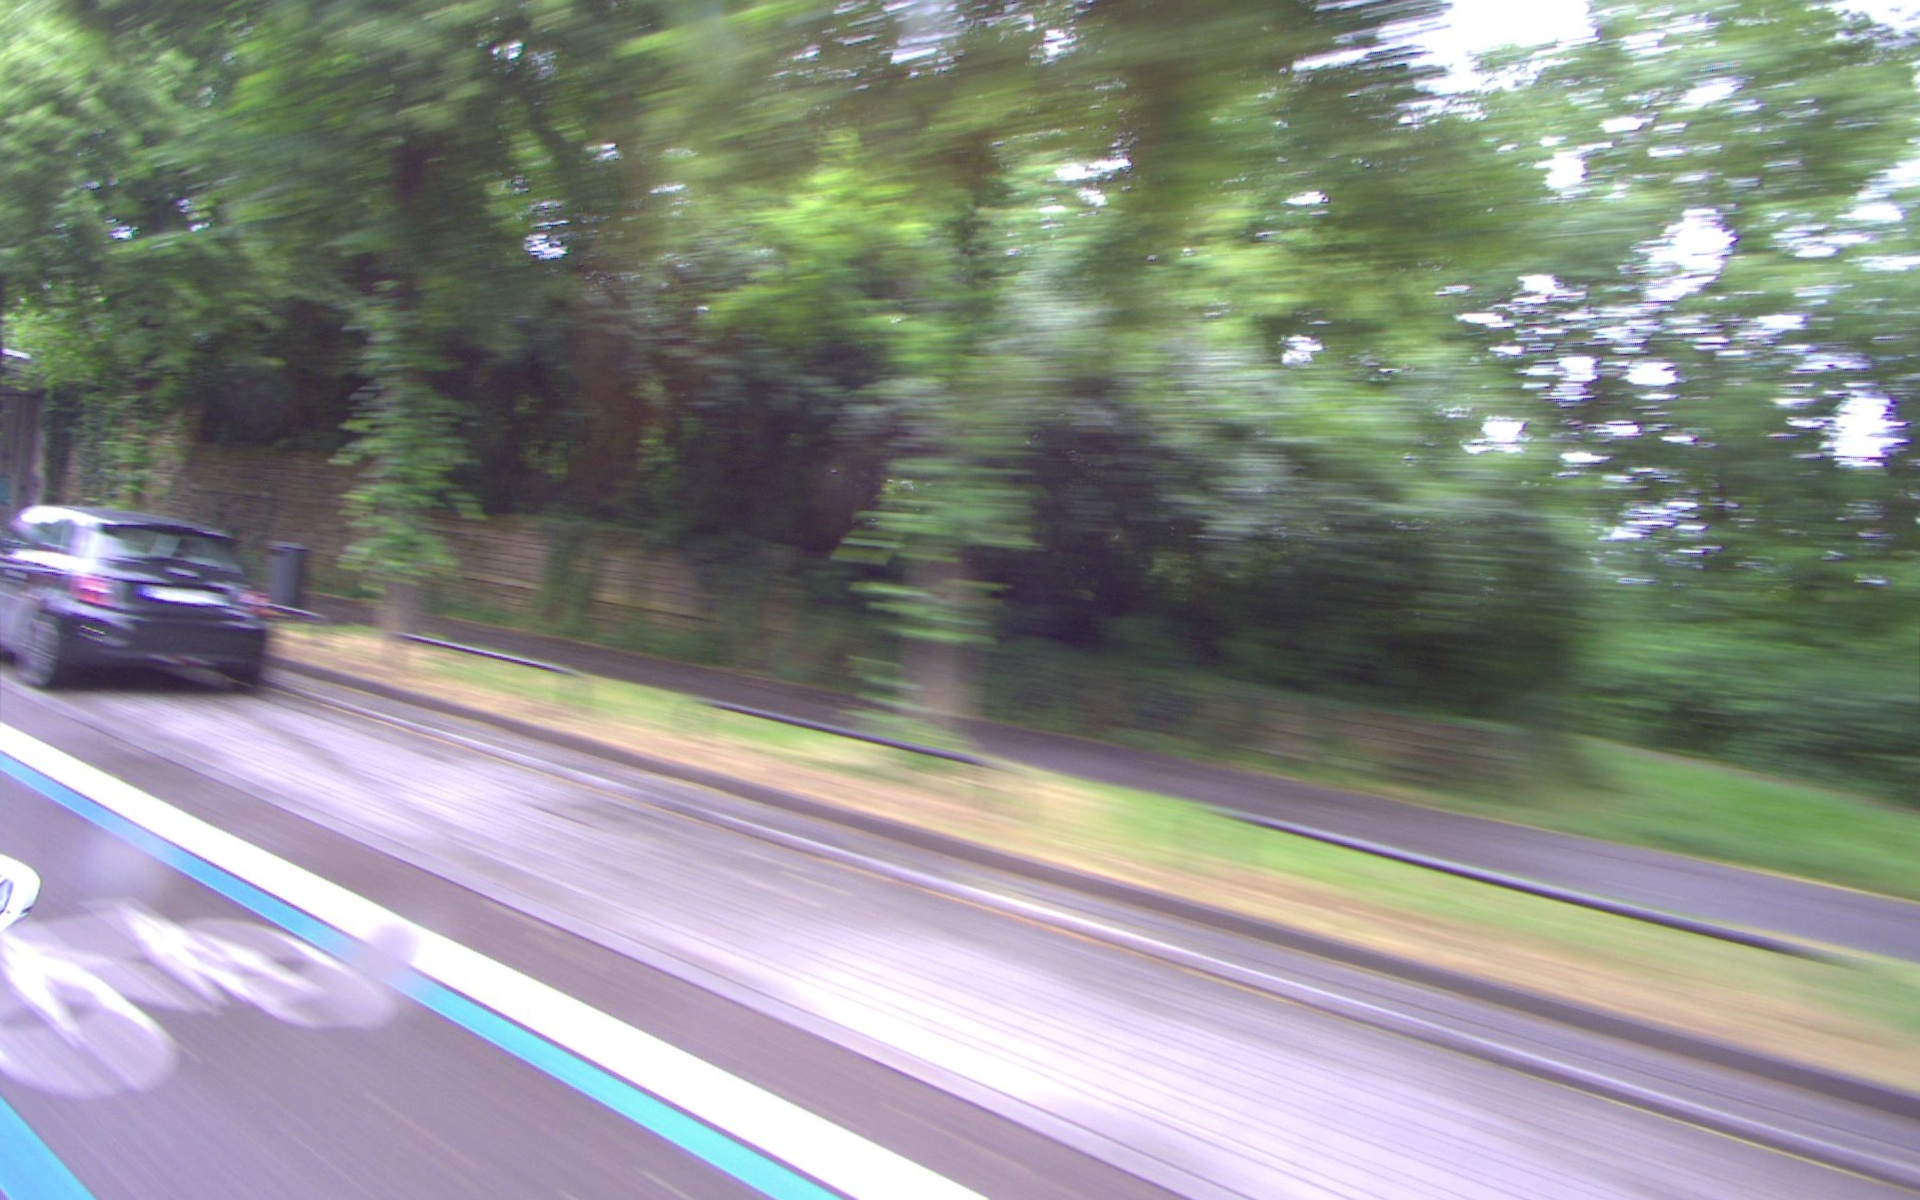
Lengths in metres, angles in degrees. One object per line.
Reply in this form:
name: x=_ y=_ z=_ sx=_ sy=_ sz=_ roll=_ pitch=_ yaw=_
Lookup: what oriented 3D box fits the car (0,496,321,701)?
car: x=-8.418 y=-0.122 z=9.788 sx=4.495 sy=1.521 sz=1.828 roll=7 pitch=0 yaw=31
